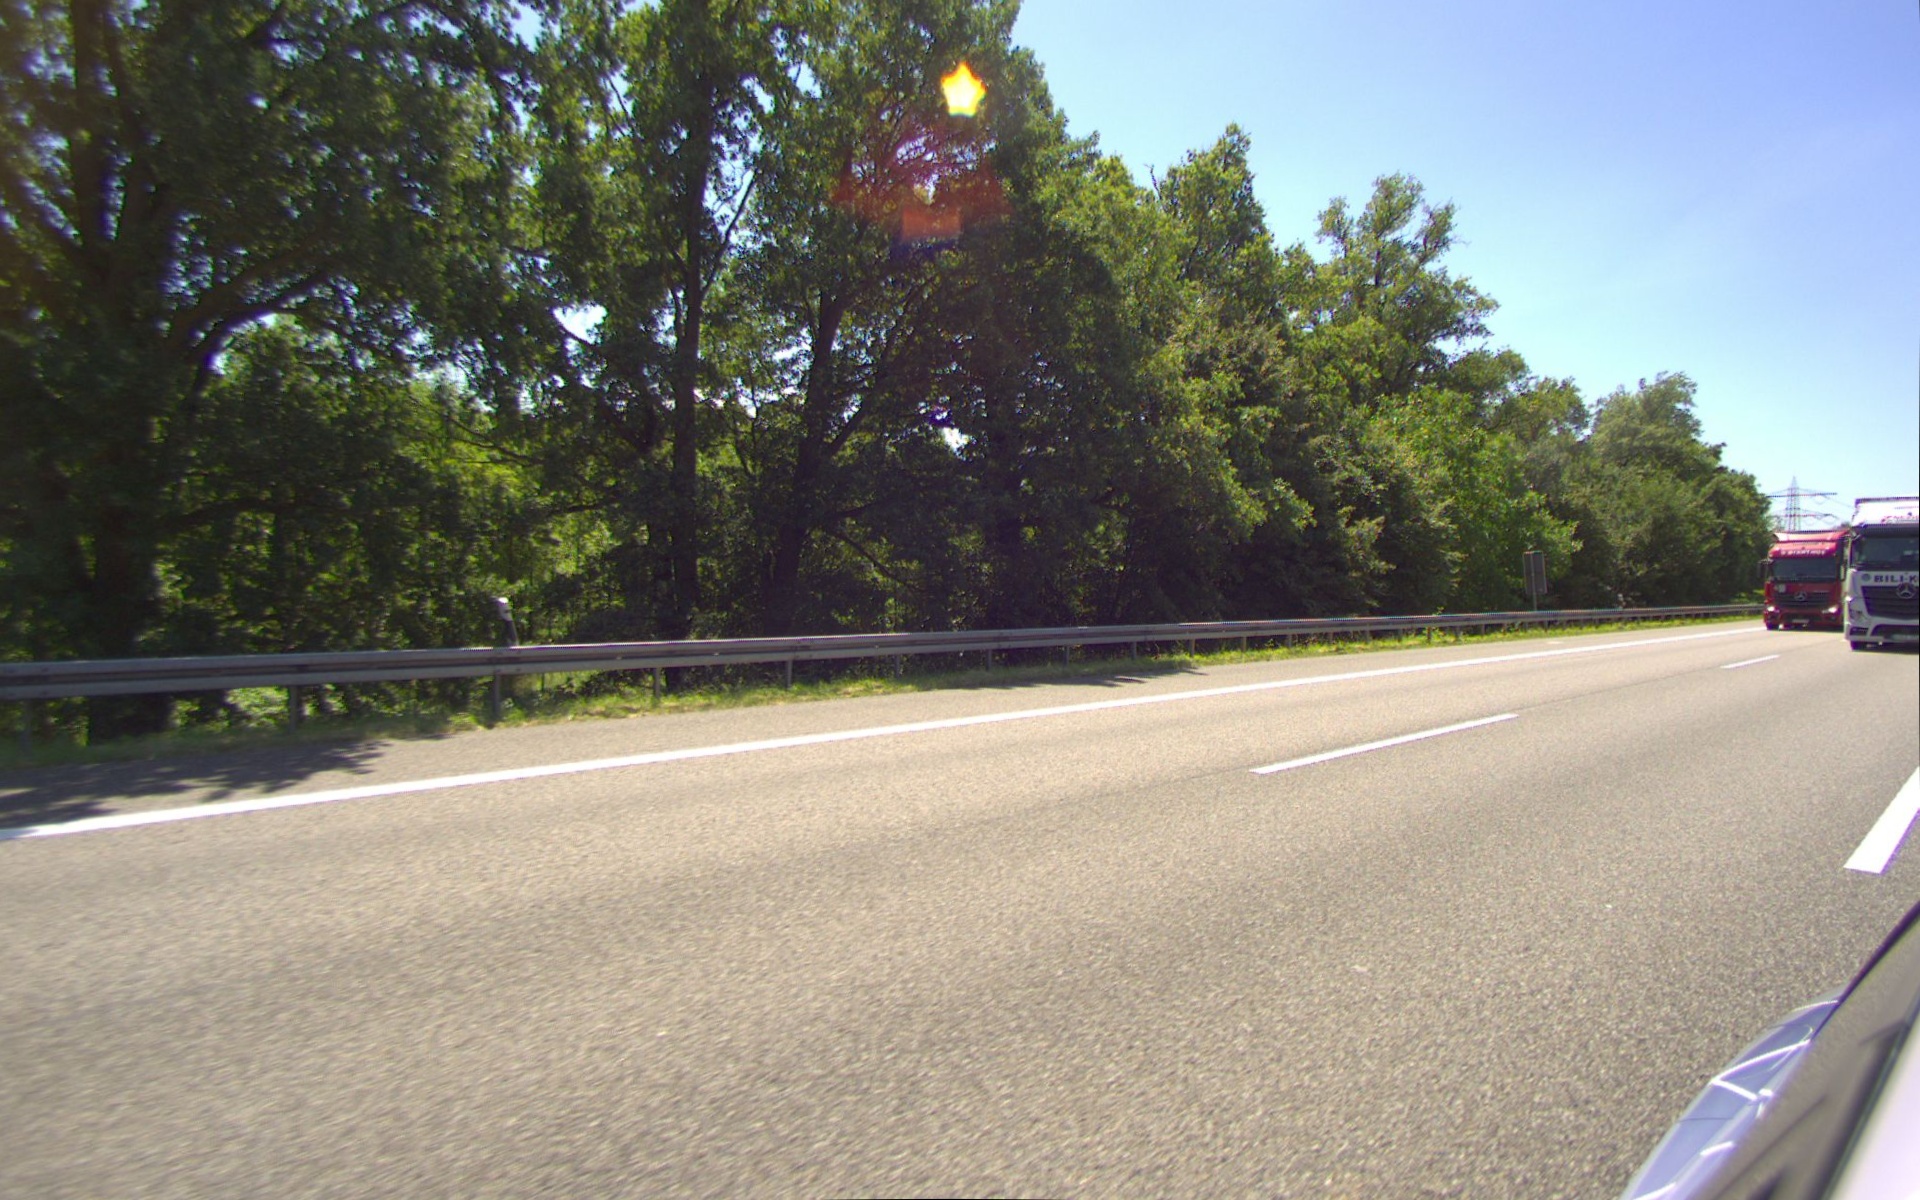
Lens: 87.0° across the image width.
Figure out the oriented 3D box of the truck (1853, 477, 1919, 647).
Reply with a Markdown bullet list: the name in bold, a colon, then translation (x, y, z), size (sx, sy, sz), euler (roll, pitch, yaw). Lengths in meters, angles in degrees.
- **truck**: translation (25.753, -1.001, 26.707), size (6.345, 4.145, 2.703), euler (-2, 1, -43)

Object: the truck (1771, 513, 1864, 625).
- **truck**: translation (34.962, -1.228, 41.228), size (4.594, 4.284, 2.331), euler (0, 1, -43)

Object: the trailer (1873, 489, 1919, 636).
- **trailer**: translation (32.312, -1.202, 32.878), size (14.499, 4.119, 2.711), euler (-2, 1, -43)
